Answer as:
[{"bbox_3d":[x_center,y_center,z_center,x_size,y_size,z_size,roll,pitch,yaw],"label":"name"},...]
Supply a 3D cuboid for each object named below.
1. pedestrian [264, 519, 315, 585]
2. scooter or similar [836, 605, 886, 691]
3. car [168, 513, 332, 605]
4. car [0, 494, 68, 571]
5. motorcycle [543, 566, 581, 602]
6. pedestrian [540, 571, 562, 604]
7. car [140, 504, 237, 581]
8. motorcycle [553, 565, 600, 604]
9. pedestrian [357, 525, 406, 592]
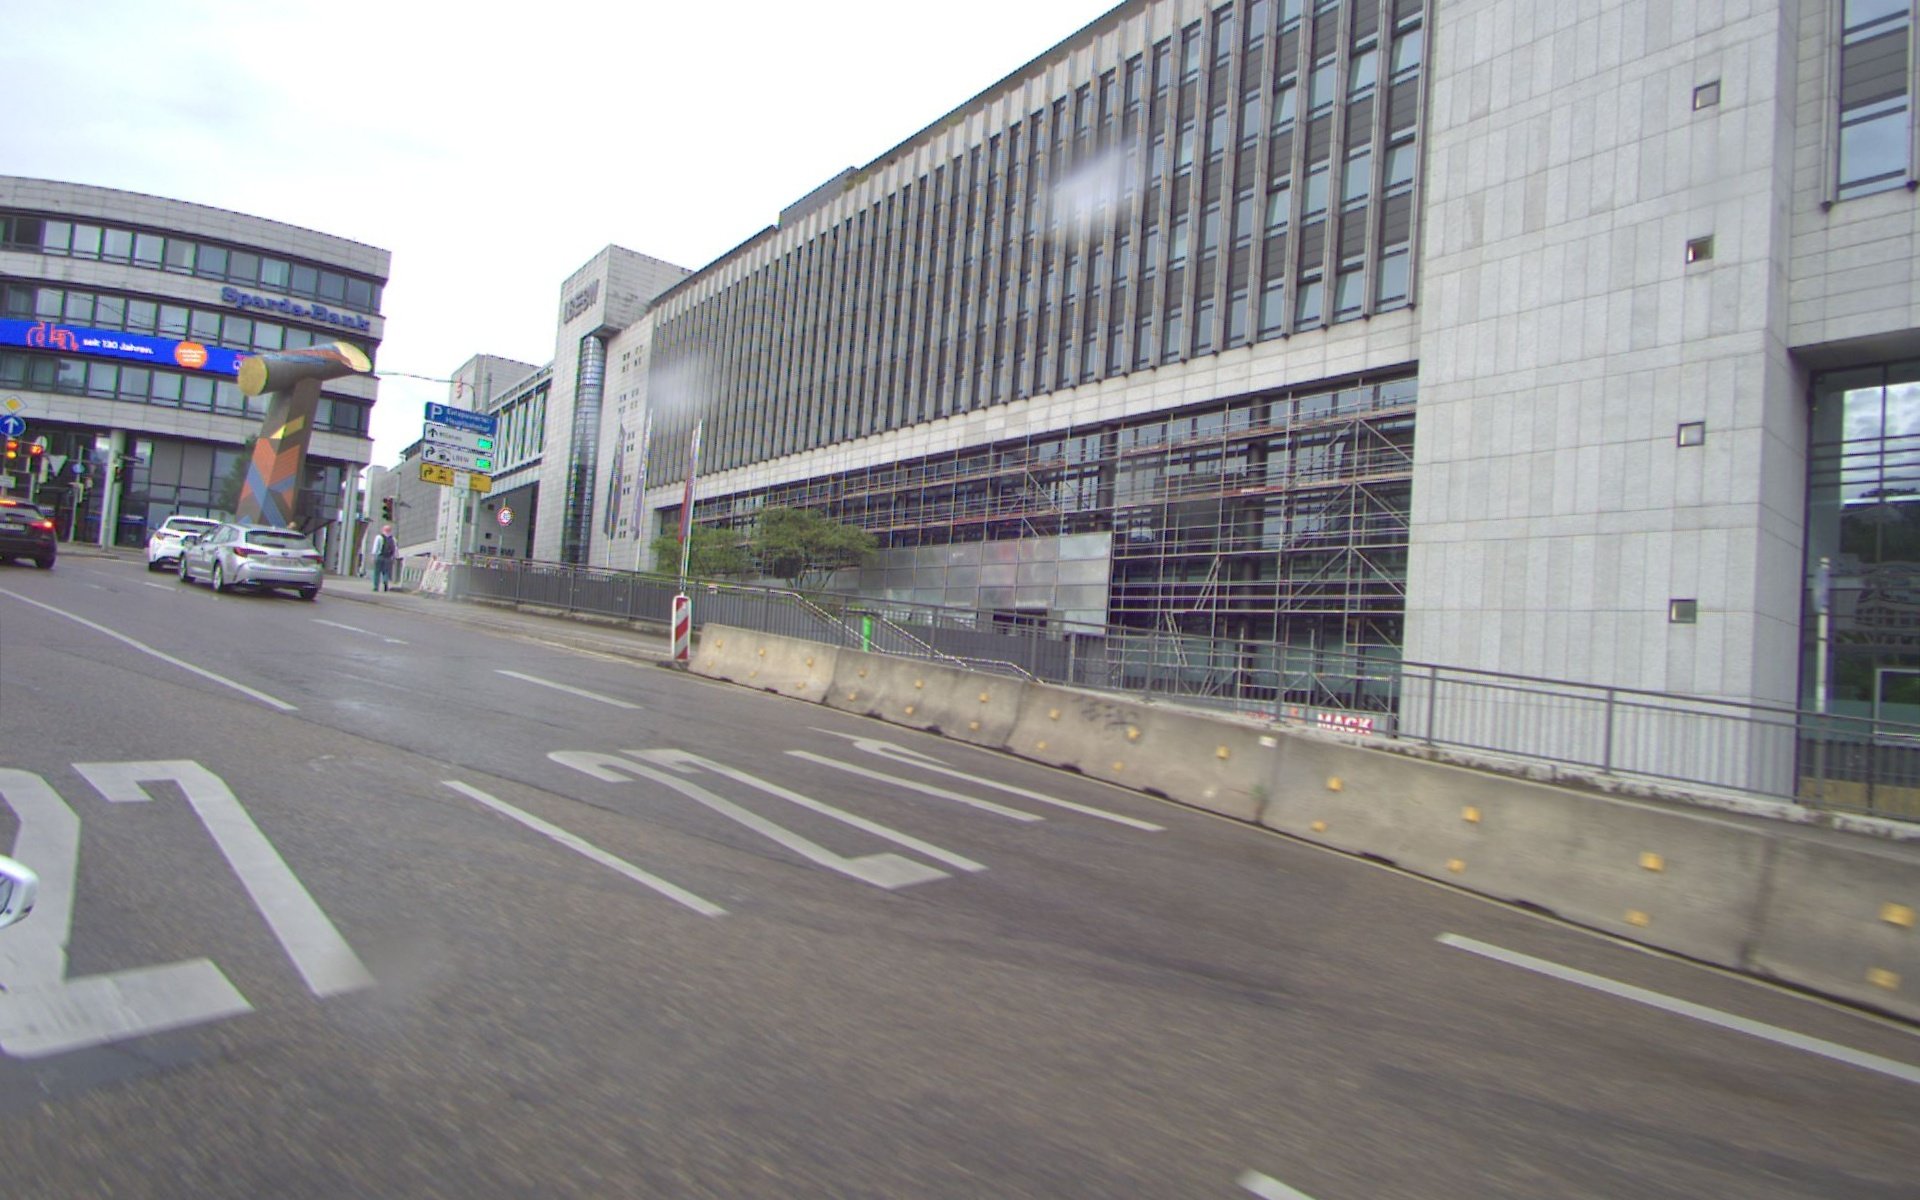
[{"bbox_3d":[-23.379,-1.654,35.114,0.887,2.122,0.856,7,-2,8],"label":"pedestrian"},{"bbox_3d":[-1.429,0.693,14.540,0.348,1.176,0.566,6,-1,-43],"label":"scooter or similar"},{"bbox_3d":[-15.358,-0.915,21.661,4.548,1.470,1.698,8,2,39],"label":"car"},{"bbox_3d":[-20.422,-1.472,21.179,4.167,1.425,1.752,4,-1,39],"label":"car"},{"bbox_3d":[-15.827,-0.620,40.000,0.609,1.286,1.244,6,0,24],"label":"motorcycle"},{"bbox_3d":[-23.982,-0.713,59.029,0.956,1.839,0.778,5,-2,-18],"label":"pedestrian"},{"bbox_3d":[-20.330,-1.507,26.520,1.763,1.653,4.533,7,-1,-38],"label":"car"},{"bbox_3d":[-15.139,-0.600,39.764,0.595,1.371,1.729,6,0,24],"label":"motorcycle"},{"bbox_3d":[-15.834,-1.126,27.543,0.829,1.731,0.731,4,-2,31],"label":"pedestrian"}]
